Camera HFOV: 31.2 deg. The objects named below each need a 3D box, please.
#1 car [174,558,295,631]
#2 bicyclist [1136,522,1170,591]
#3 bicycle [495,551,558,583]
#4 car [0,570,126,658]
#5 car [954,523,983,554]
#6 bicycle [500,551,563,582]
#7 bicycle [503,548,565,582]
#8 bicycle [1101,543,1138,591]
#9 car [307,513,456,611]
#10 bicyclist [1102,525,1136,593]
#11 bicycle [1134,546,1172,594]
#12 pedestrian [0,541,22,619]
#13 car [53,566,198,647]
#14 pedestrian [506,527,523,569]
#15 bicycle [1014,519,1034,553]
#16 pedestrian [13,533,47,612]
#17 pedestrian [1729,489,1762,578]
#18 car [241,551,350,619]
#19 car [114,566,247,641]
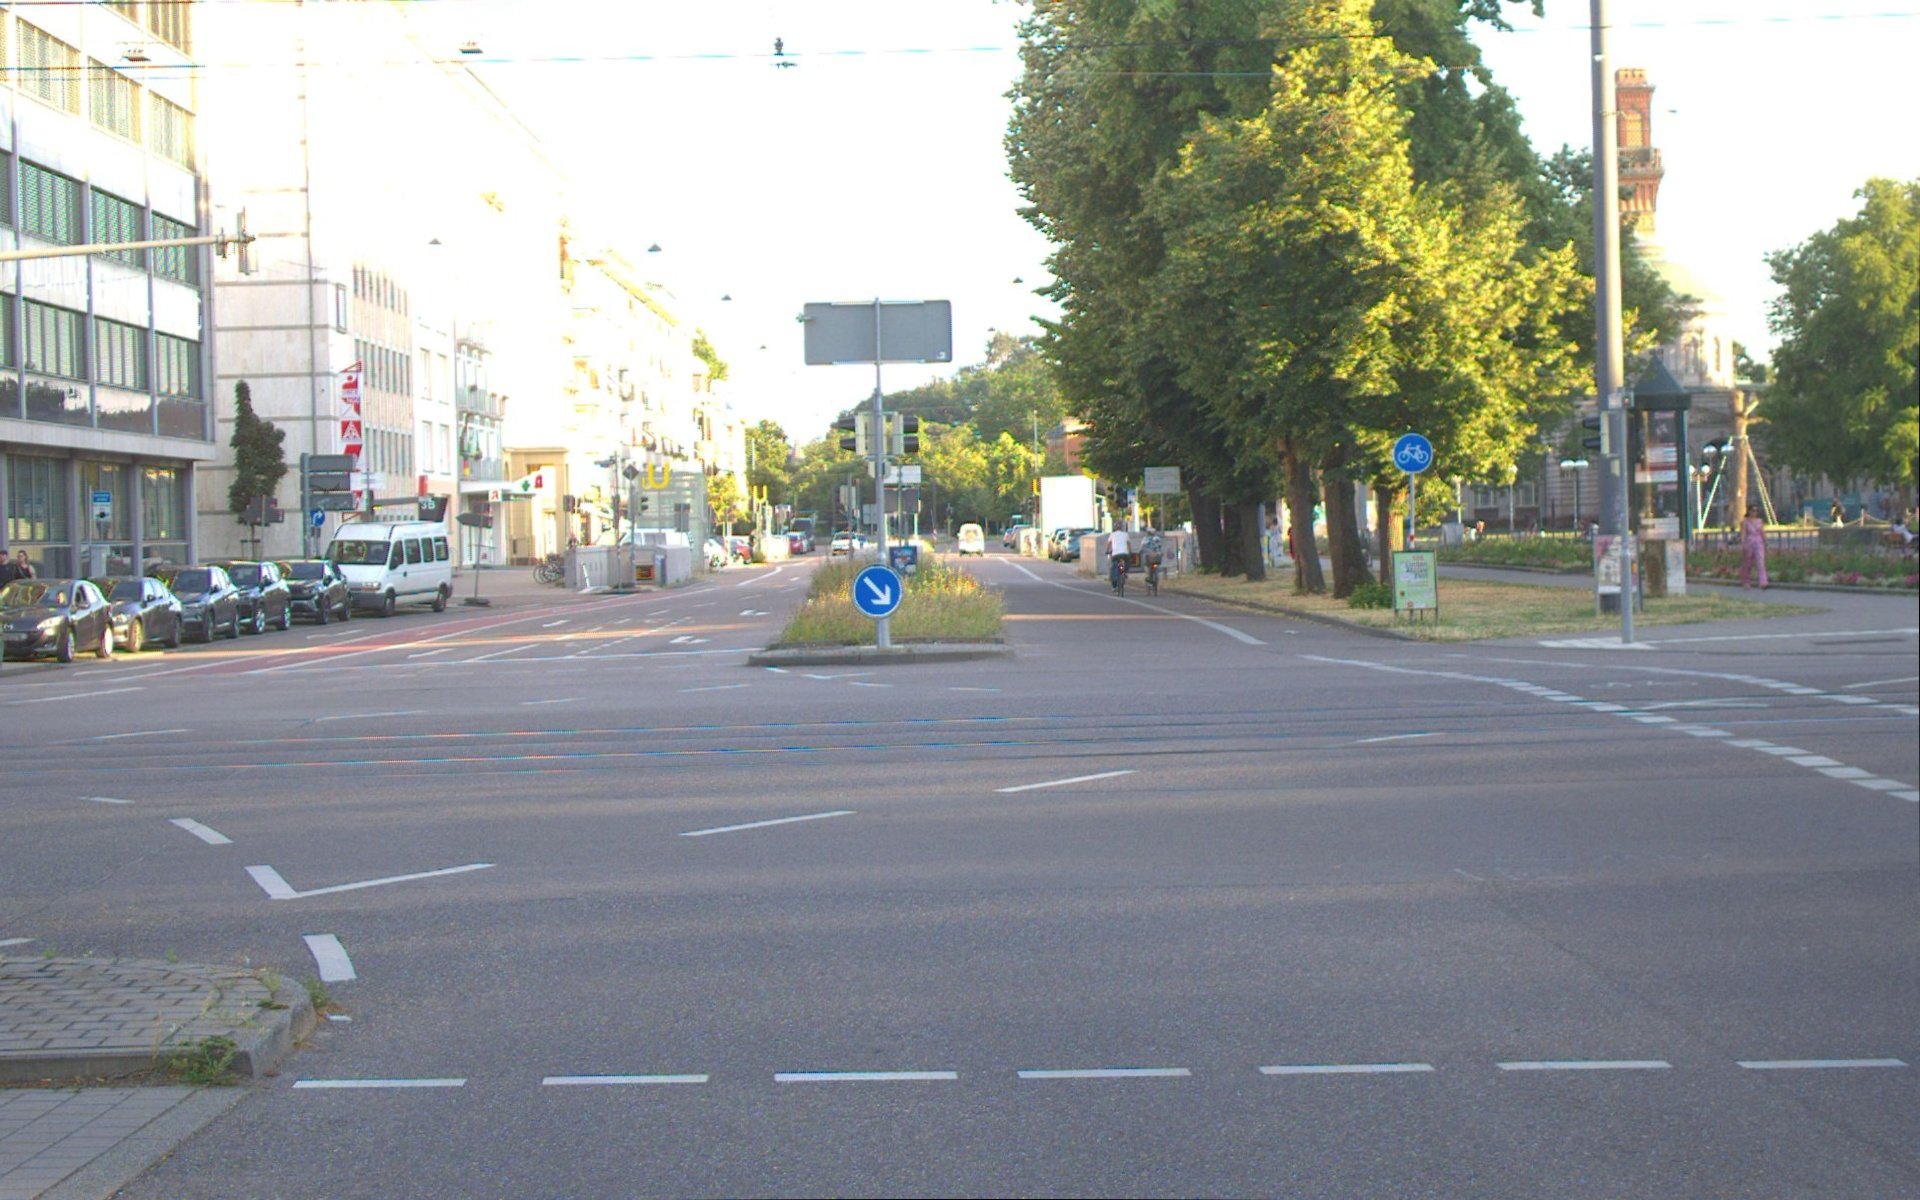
[{"bbox_3d":[-16.551,-0.145,78.560,1.920,1.563,4.000,-2,1,-1],"label":"car"},{"bbox_3d":[4.777,-1.075,85.187,0.746,1.685,0.799,-2,1,-1],"label":"bicyclist"},{"bbox_3d":[-15.829,-1.212,125.439,2.205,1.108,0.619,-2,1,-2],"label":"bicycle"},{"bbox_3d":[-16.480,0.236,61.948,1.920,1.459,4.103,-2,1,-1],"label":"car"},{"bbox_3d":[0.473,-3.342,187.277,1.408,1.636,4.000,-2,1,-2],"label":"car"},{"bbox_3d":[-15.815,-1.241,126.964,2.205,1.108,0.689,-2,1,-2],"label":"bicycle"},{"bbox_3d":[-15.984,-1.310,128.888,2.205,1.232,0.839,-2,1,-2],"label":"bicycle"},{"bbox_3d":[3.948,-0.832,85.127,0.746,1.140,2.505,-2,1,-1],"label":"bicycle"},{"bbox_3d":[-15.292,-1.048,91.237,2.002,2.469,5.865,-1,1,10],"label":"car"},{"bbox_3d":[3.923,-1.011,84.878,0.746,1.658,0.873,-2,1,-1],"label":"bicyclist"},{"bbox_3d":[4.788,-0.750,85.274,0.746,1.140,2.505,-2,1,-1],"label":"bicycle"},{"bbox_3d":[-20.672,-0.440,74.481,0.500,1.673,0.500,-2,1,-1],"label":"pedestrian"},{"bbox_3d":[-16.569,0.106,68.444,1.920,1.459,4.000,-2,1,-1],"label":"car"},{"bbox_3d":[-21.371,-2.492,164.820,0.680,2.007,0.545,-2,1,0],"label":"pedestrian"},{"bbox_3d":[3.905,-3.888,208.766,1.002,2.007,4.000,-1,1,4],"label":"bicycle"},{"bbox_3d":[-19.963,-0.586,73.820,0.551,1.673,0.500,-2,1,-1],"label":"pedestrian"},{"bbox_3d":[14.745,-1.243,64.539,0.460,1.651,0.567,-1,1,-1],"label":"pedestrian"},{"bbox_3d":[-16.352,-0.379,84.787,1.920,1.563,4.000,-2,1,-1],"label":"car"},{"bbox_3d":[-16.573,0.058,73.259,1.920,1.459,4.000,-2,1,-1],"label":"car"}]
